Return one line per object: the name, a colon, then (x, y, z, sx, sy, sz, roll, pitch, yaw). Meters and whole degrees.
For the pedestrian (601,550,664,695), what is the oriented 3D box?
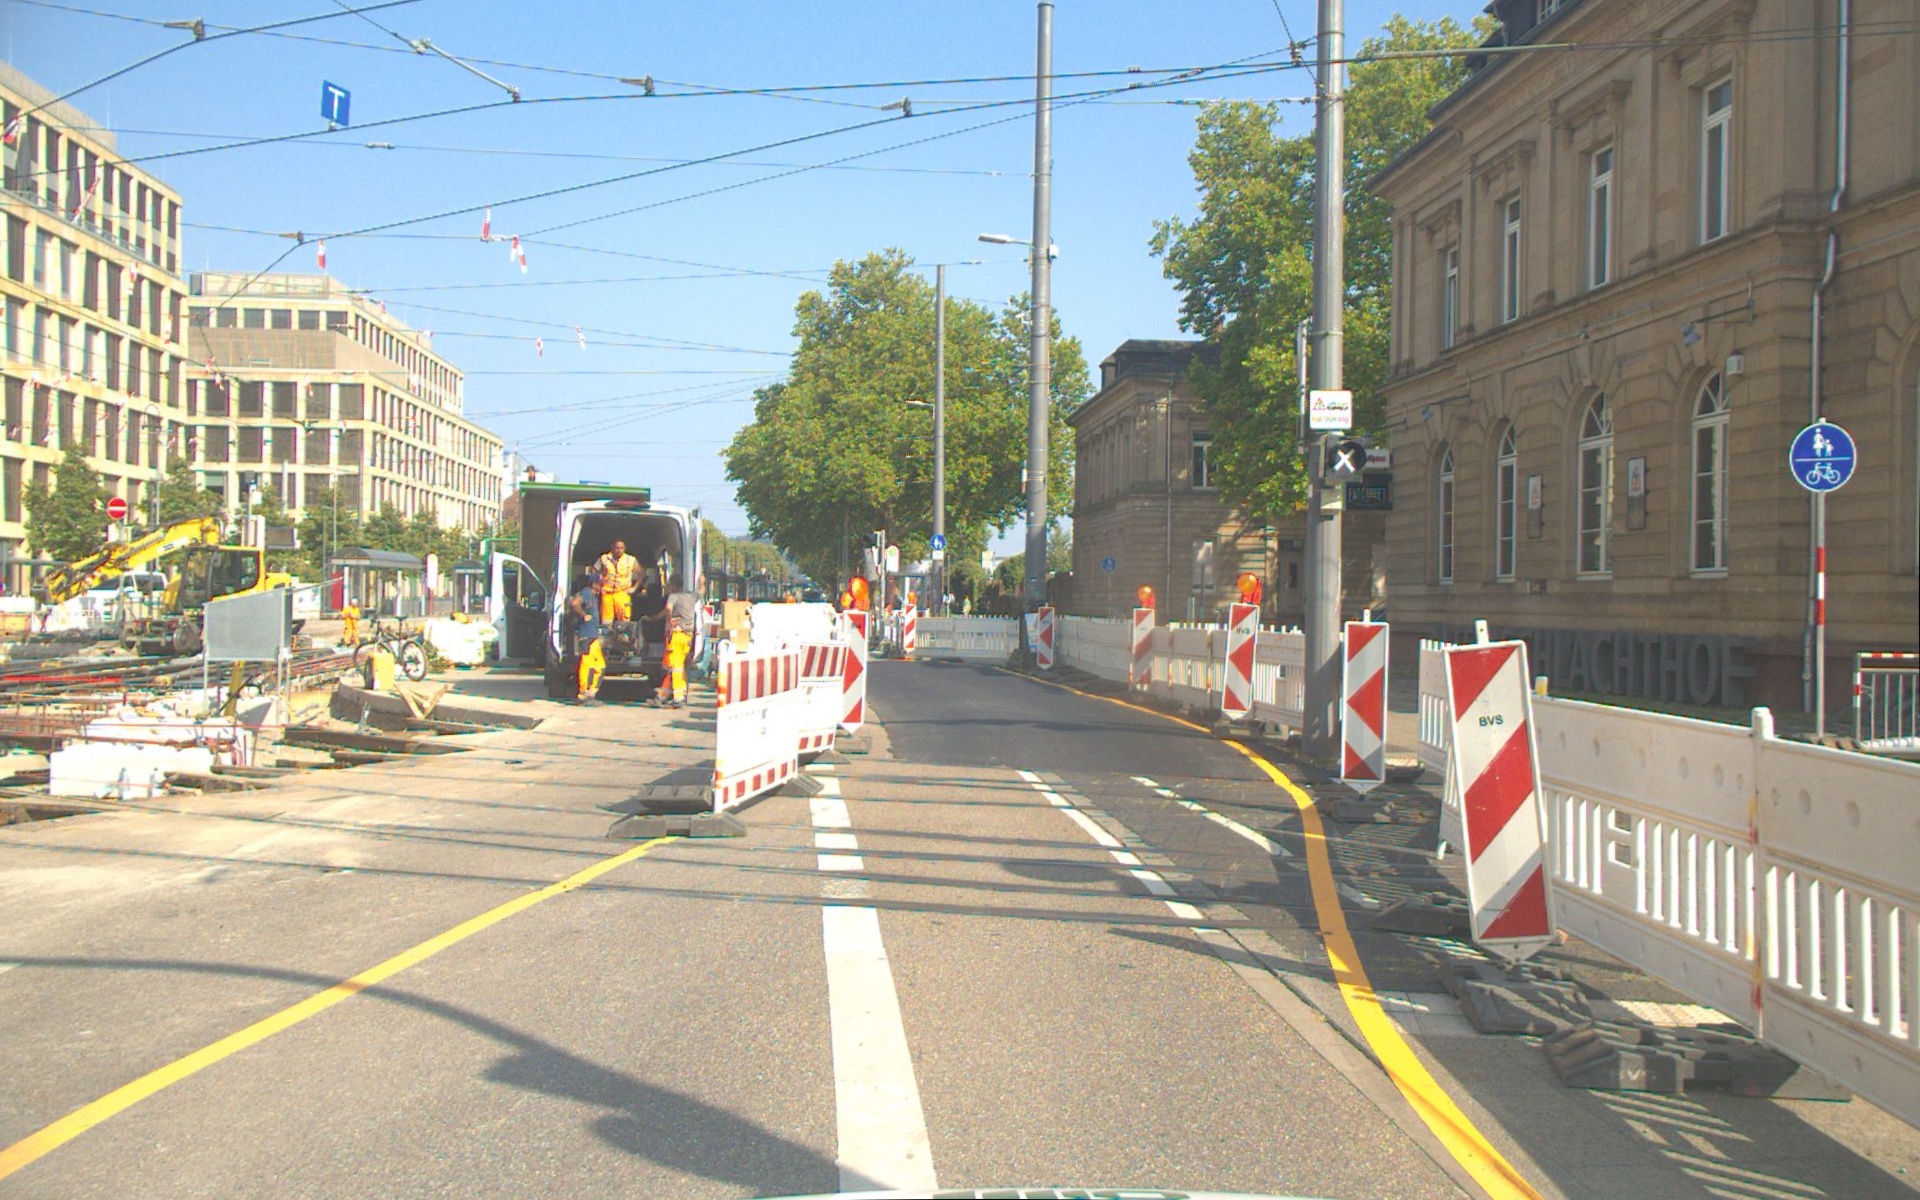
pedestrian: (-4.703, 0.316, 23.810, 0.719, 2.049, 0.907, 0, -1, 1)

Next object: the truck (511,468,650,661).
truck: (-8.353, -0.695, 36.361, 2.628, 3.743, 8.185, 0, 0, -13)

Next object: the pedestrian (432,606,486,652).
pedestrian: (-14.818, 0.853, 48.940, 1.284, 1.329, 0.799, 0, 0, 19)

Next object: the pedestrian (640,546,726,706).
pedestrian: (-3.657, 0.337, 21.861, 0.720, 2.049, 0.906, 0, -1, 28)

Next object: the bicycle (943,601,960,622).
bicycle: (-0.445, 0.590, 87.333, 0.703, 1.060, 1.900, 0, 0, -7)

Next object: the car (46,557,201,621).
car: (-28.400, -0.385, 56.361, 1.772, 2.066, 5.123, 0, 0, 14)

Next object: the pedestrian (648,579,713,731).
pedestrian: (-3.840, 0.742, 22.784, 0.718, 2.049, 0.907, 0, -1, 2)

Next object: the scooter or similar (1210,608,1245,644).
scooter or similar: (9.440, 0.906, 58.266, 1.238, 1.231, 0.418, -1, 2, -30)

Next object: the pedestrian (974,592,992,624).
pedestrian: (1.262, 0.431, 91.210, 0.803, 1.716, 1.011, -2, 0, -5)

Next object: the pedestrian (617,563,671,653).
pedestrian: (-6.154, 0.163, 32.229, 0.692, 1.723, 0.764, 0, -1, 31)

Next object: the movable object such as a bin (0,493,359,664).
movable object such as a bin: (-20.544, -0.539, 44.346, 3.430, 4.083, 9.044, 0, 0, 19)

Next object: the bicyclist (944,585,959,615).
bicyclist: (-0.456, 0.017, 87.431, 0.703, 1.570, 0.954, 0, 0, -7)

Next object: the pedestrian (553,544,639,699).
pedestrian: (-4.913, 0.284, 22.359, 0.719, 2.049, 0.906, 0, -1, 27)

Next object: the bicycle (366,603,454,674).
bicycle: (-9.281, 0.638, 27.894, 1.630, 1.156, 0.615, 0, -1, 38)

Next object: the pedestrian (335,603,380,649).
pedestrian: (-17.975, 0.774, 49.342, 0.994, 1.329, 0.982, 0, 0, -1)

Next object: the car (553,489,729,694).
car: (-4.973, -0.099, 25.200, 2.189, 2.777, 5.148, 1, 0, -16)
